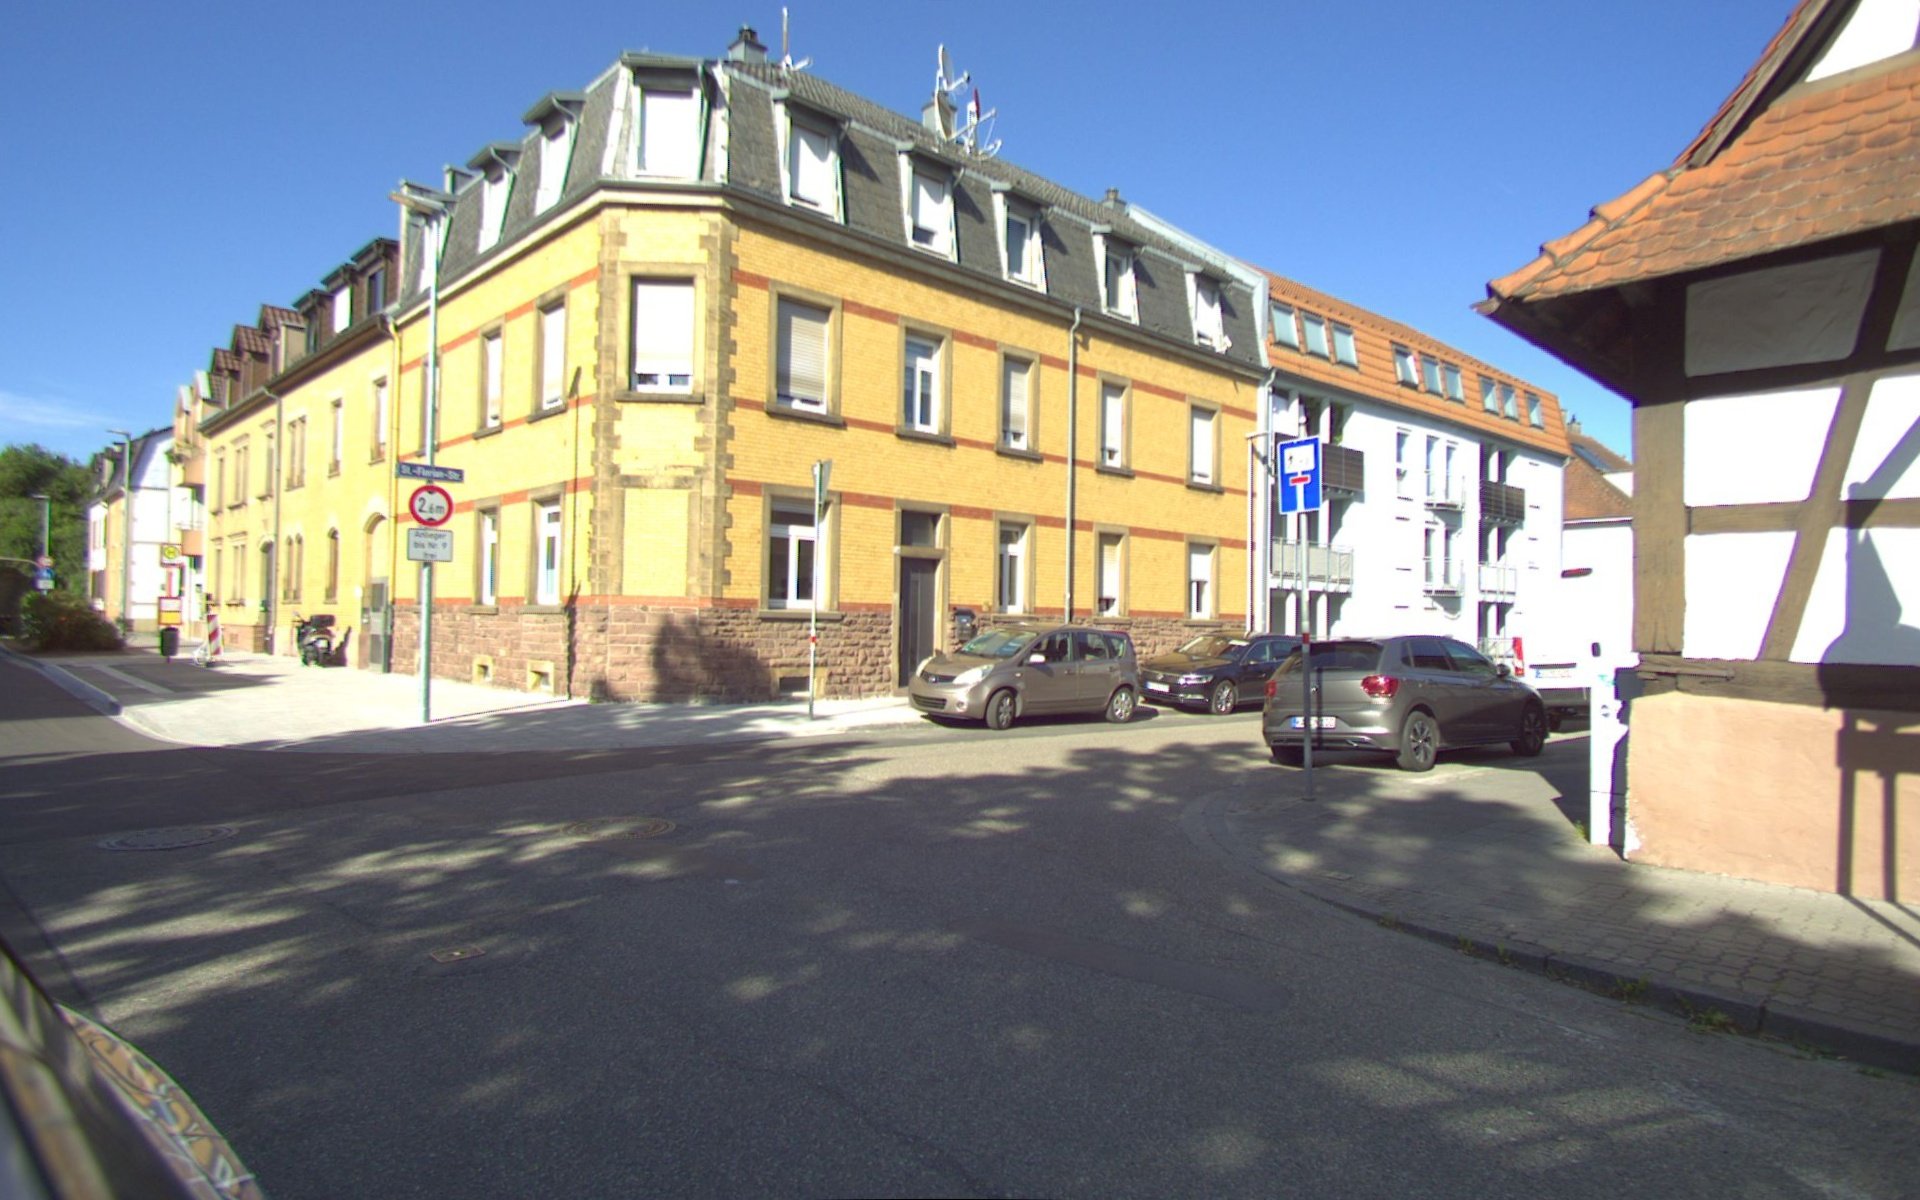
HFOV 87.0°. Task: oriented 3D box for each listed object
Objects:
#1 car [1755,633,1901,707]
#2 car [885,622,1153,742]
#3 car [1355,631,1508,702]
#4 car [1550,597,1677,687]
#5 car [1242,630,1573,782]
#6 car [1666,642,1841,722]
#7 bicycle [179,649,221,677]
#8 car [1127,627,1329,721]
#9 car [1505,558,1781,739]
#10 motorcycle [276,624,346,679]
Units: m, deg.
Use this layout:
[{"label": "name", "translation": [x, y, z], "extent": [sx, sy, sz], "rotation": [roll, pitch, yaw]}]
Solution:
[{"label": "car", "translation": [20.734, 1.683, 24.139], "extent": [3.868, 1.634, 1.861], "rotation": [3, -6, -38]}, {"label": "car", "translation": [0.995, 1.213, 15.732], "extent": [3.951, 1.556, 1.719], "rotation": [3, 0, -38]}, {"label": "car", "translation": [12.048, 1.679, 25.701], "extent": [4.763, 1.504, 1.890], "rotation": [4, 0, -44]}, {"label": "car", "translation": [21.135, 1.375, 32.653], "extent": [4.760, 2.621, 2.121], "rotation": [4, 0, -41]}, {"label": "car", "translation": [5.234, 1.168, 11.692], "extent": [3.868, 1.459, 1.861], "rotation": [3, -6, -38]}, {"label": "car", "translation": [16.046, 1.649, 20.419], "extent": [3.868, 1.459, 1.861], "rotation": [3, -6, -38]}, {"label": "bicycle", "translation": [-19.197, 1.573, 25.583], "extent": [0.377, 0.614, 1.346], "rotation": [-1, 0, -16]}, {"label": "car", "translation": [5.260, 1.401, 19.662], "extent": [3.951, 1.556, 1.719], "rotation": [3, 0, -38]}, {"label": "car", "translation": [11.526, 0.853, 16.935], "extent": [5.378, 2.586, 2.179], "rotation": [3, -6, -38]}, {"label": "motorcycle", "translation": [-16.093, 1.251, 25.071], "extent": [2.256, 1.262, 0.837], "rotation": [0, 0, 41]}]
